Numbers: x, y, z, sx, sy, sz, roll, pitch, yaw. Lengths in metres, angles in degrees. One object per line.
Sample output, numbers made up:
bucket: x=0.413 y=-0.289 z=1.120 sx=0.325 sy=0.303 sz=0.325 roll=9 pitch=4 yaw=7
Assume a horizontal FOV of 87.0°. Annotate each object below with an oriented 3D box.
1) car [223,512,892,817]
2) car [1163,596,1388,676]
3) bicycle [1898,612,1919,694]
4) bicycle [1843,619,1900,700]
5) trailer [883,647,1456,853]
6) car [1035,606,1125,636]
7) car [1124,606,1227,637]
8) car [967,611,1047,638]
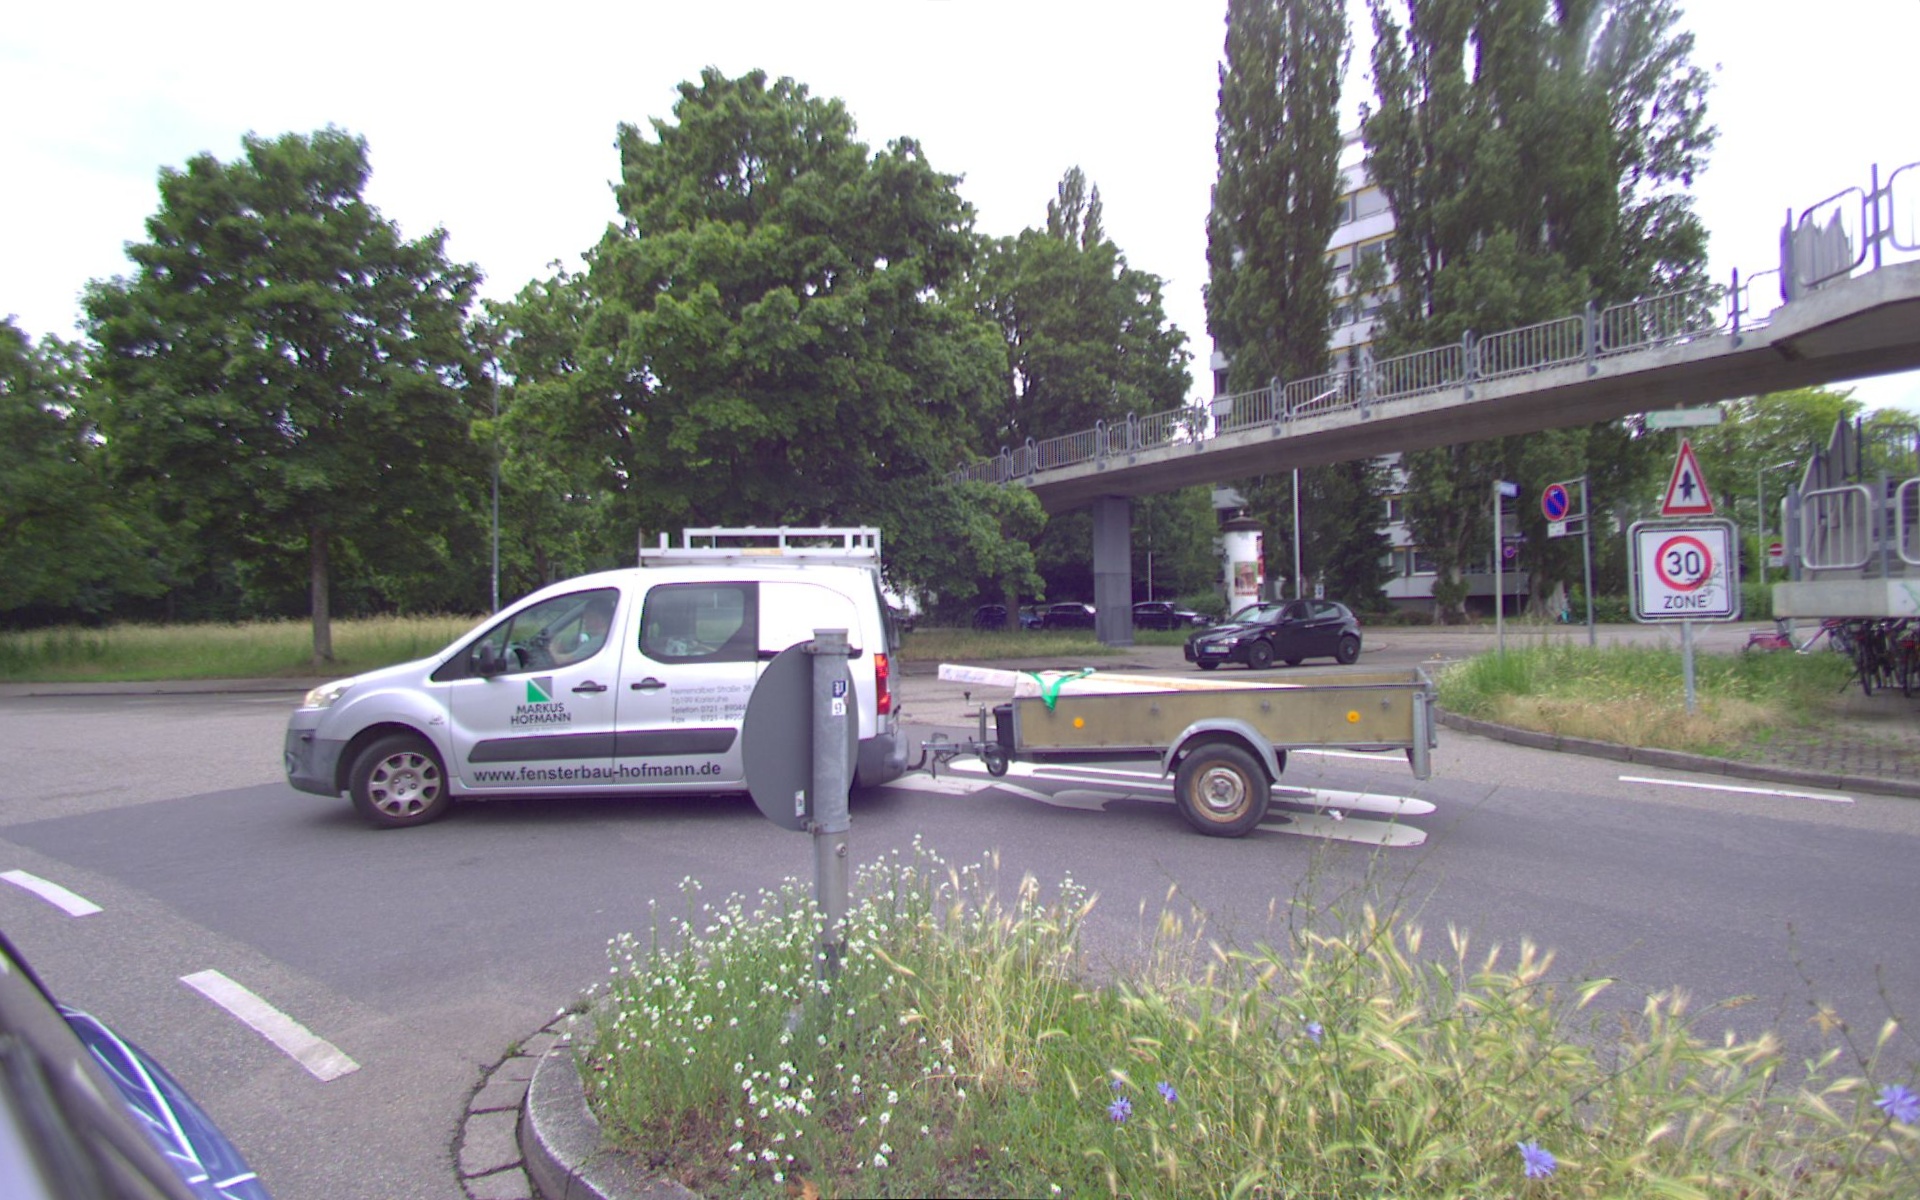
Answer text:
car: x=-2.605 y=0.419 z=7.493 sx=4.159 sy=1.872 sz=2.096 roll=-1 pitch=-1 yaw=-3
car: x=6.640 y=0.700 z=21.224 sx=4.462 sy=1.468 sz=1.809 roll=-1 pitch=0 yaw=-26
bicycle: x=11.315 y=0.596 z=11.846 sx=1.618 sy=0.892 sz=0.395 roll=-1 pitch=-1 yaw=-44
bicycle: x=11.139 y=0.701 z=12.354 sx=1.618 sy=0.892 sz=0.395 roll=-1 pitch=-1 yaw=-44
trailer: x=1.362 y=0.875 z=6.839 sx=3.441 sy=0.993 sz=1.560 roll=0 pitch=0 yaw=22
car: x=5.427 y=0.949 z=46.180 sx=1.667 sy=1.256 sz=4.007 roll=-1 pitch=0 yaw=-39
car: x=8.877 y=0.889 z=41.948 sx=1.667 sy=1.214 sz=4.007 roll=-1 pitch=0 yaw=-39
car: x=2.277 y=1.182 z=49.893 sx=1.667 sy=1.247 sz=4.007 roll=-1 pitch=0 yaw=-39
